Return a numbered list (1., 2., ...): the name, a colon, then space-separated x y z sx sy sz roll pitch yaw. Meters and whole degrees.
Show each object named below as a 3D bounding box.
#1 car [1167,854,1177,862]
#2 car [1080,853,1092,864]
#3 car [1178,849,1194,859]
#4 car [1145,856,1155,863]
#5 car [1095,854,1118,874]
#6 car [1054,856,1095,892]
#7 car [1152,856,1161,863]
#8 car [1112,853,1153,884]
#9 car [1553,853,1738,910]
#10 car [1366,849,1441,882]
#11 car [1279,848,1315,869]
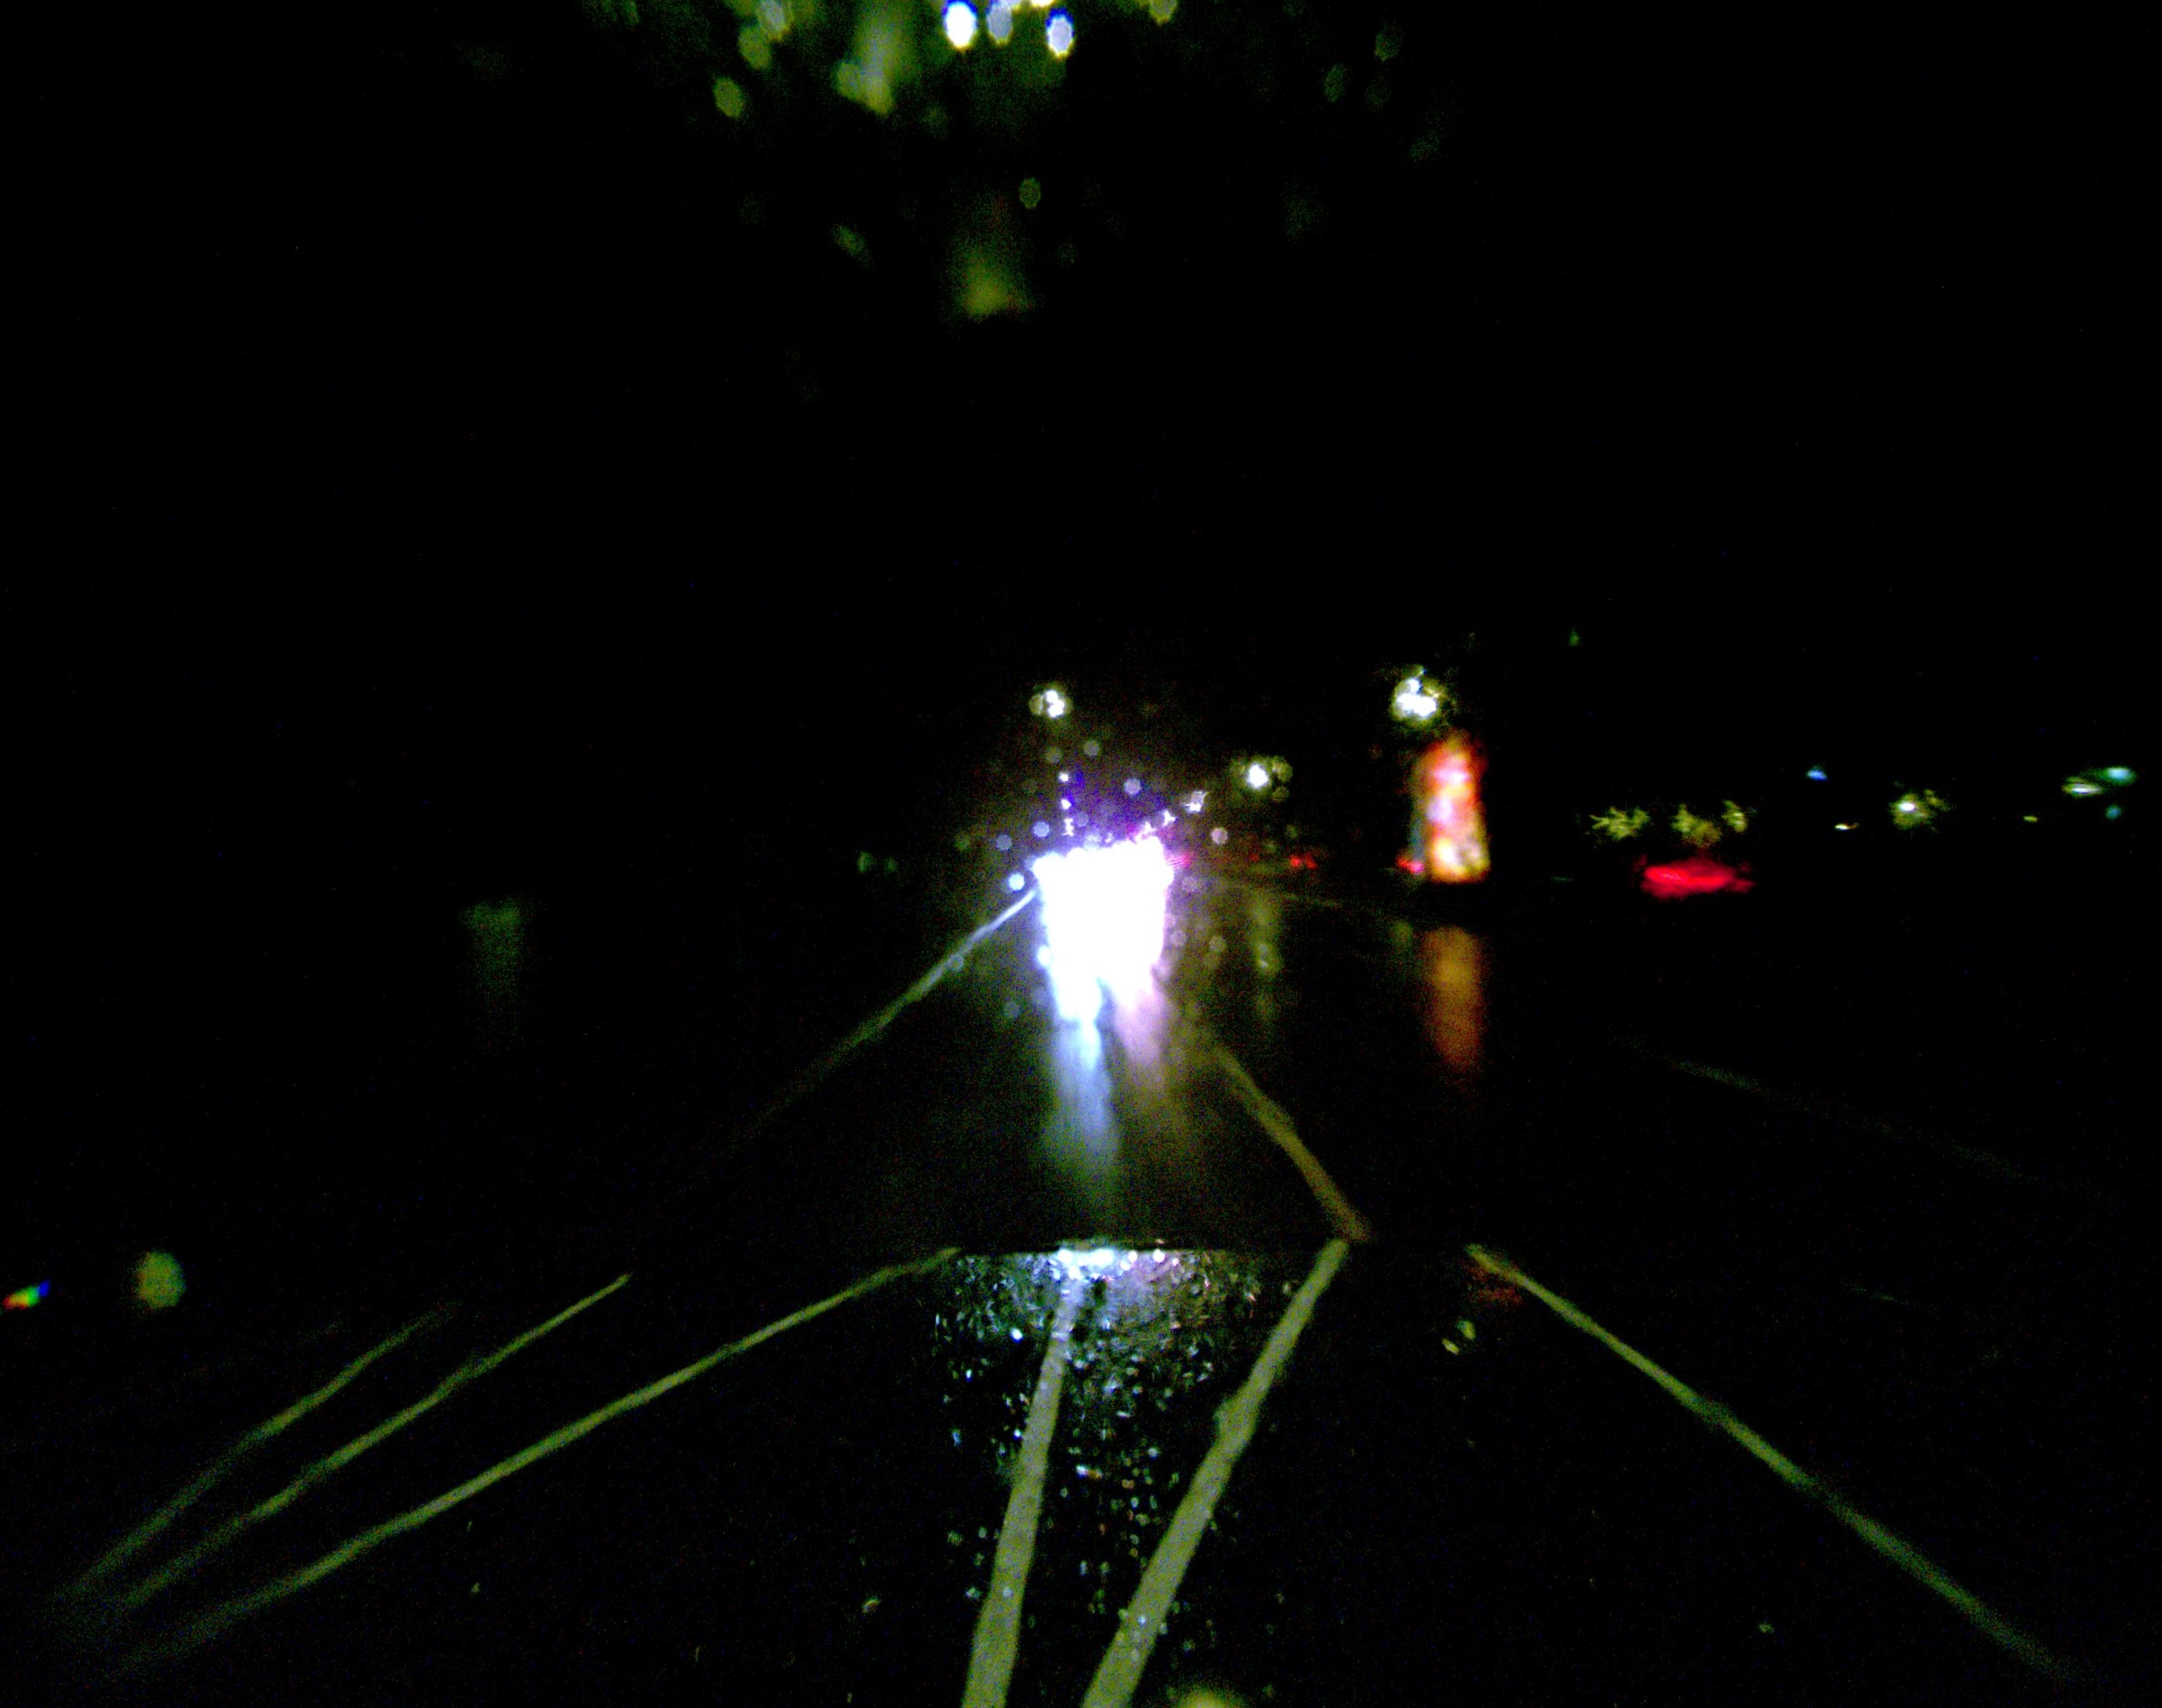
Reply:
1. car: 19.782 0.862 165.394 1.848 1.583 4.366 -2 0 1
2. car: 0.804 0.693 120.322 1.834 1.696 3.948 -2 0 0
3. car: 18.804 0.017 136.275 2.029 1.674 4.547 -2 0 -1
4. car: 15.090 1.237 167.483 1.848 1.477 4.366 -2 0 1
5. car: 2.252 0.872 67.393 1.834 1.696 4.194 -2 0 0
6. car: -0.331 1.004 39.699 1.950 1.709 4.442 -2 0 0
7. car: 18.989 1.365 190.311 1.848 1.583 4.366 -2 0 1
8. car: 2.748 0.757 41.478 1.834 1.518 4.874 -2 0 0
9. car: 16.327 0.726 22.341 1.834 1.455 4.658 -2 0 -2
10. car: 15.911 0.547 37.729 1.834 1.455 3.999 -2 0 -3
11. car: 18.983 0.395 66.809 1.834 1.703 4.440 -2 0 0
